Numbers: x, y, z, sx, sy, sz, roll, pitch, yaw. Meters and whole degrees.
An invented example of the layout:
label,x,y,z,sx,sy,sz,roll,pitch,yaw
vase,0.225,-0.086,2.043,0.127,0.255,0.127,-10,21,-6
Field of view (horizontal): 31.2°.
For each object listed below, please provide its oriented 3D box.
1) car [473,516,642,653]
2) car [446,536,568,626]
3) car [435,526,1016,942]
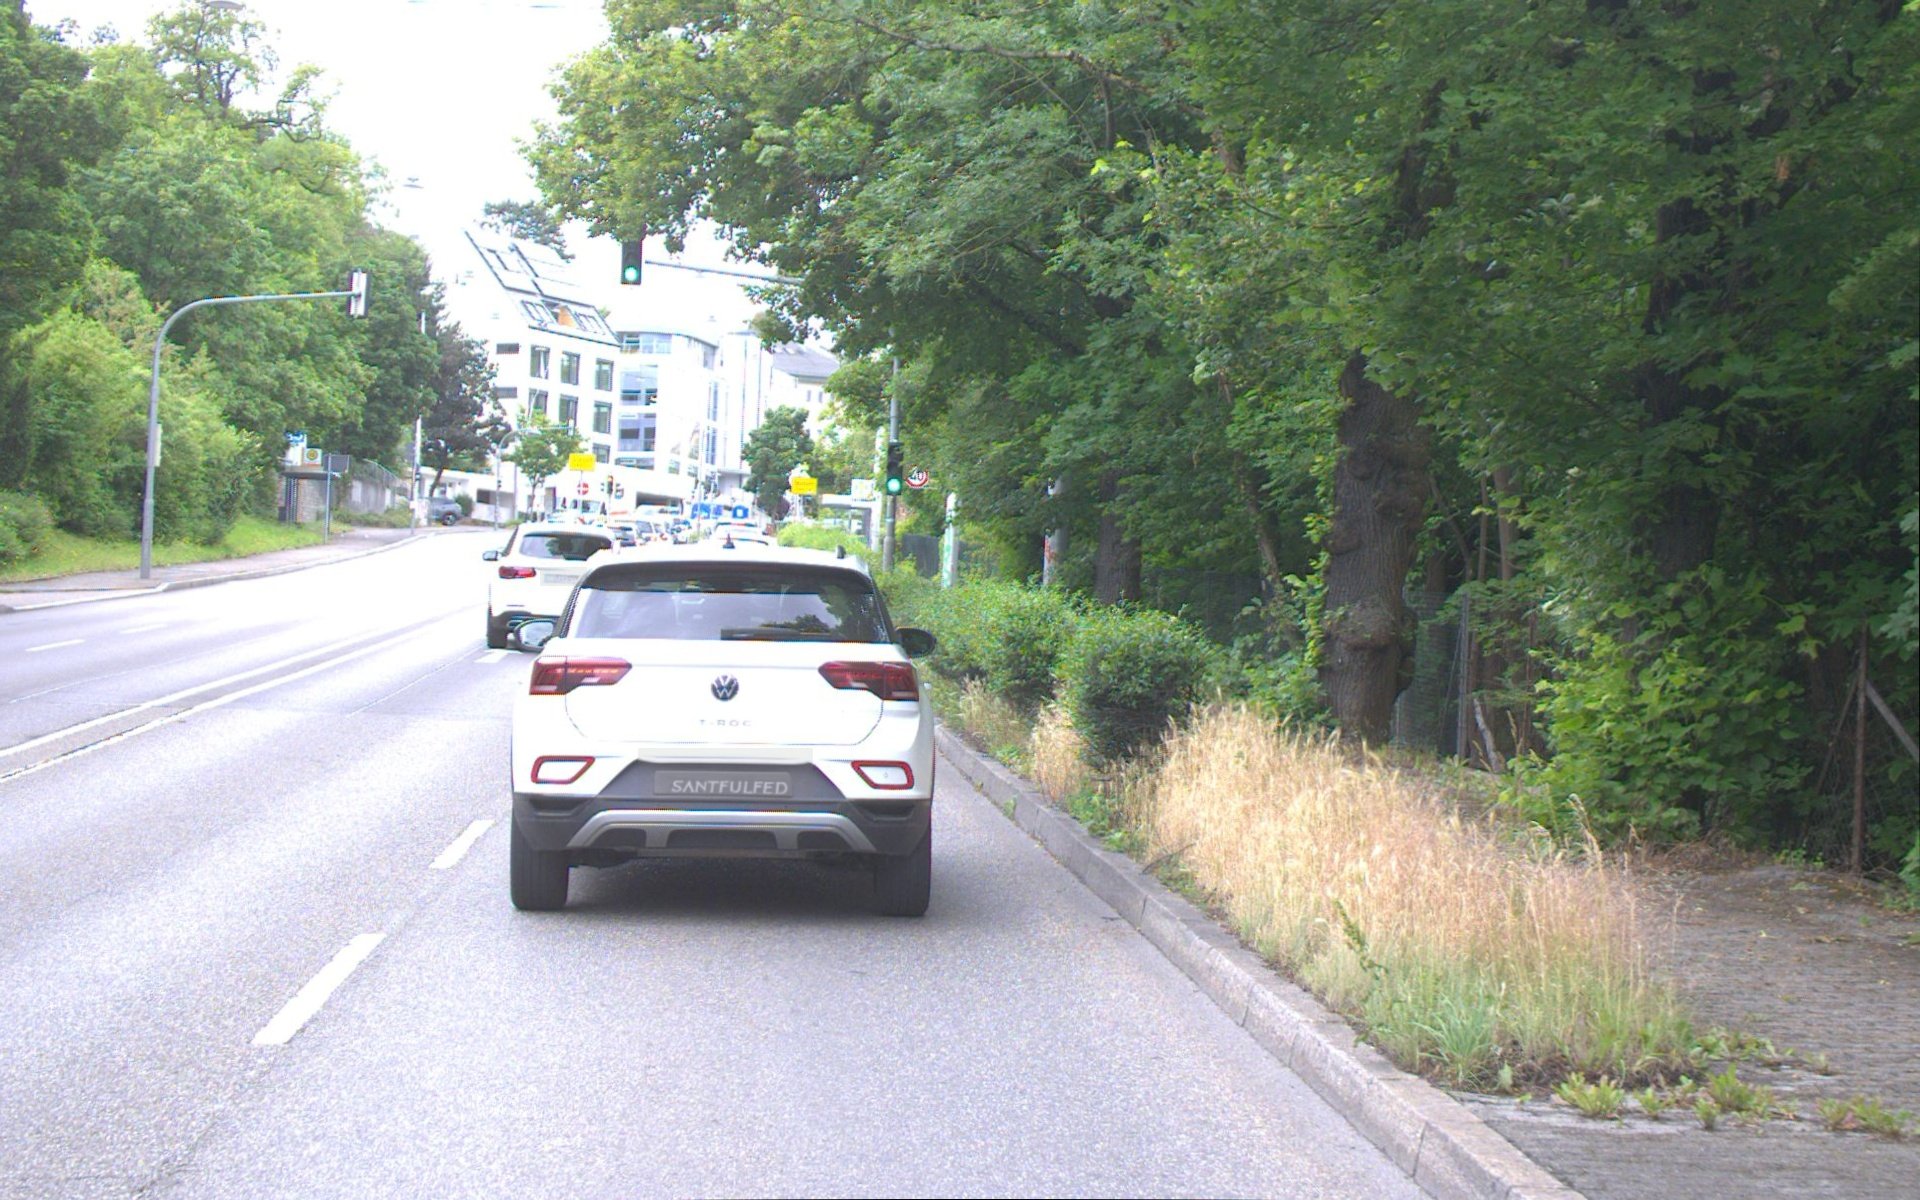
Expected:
label,x,y,z,sx,sy,sz,roll,pitch,yaw
car,-5.275,-0.233,44.648,1.851,1.697,4.001,0,1,-11
car,-8.227,-0.369,62.185,1.949,1.461,4.001,2,2,-10
car,-1.205,0.502,15.543,2.000,1.590,4.001,-1,1,-13
